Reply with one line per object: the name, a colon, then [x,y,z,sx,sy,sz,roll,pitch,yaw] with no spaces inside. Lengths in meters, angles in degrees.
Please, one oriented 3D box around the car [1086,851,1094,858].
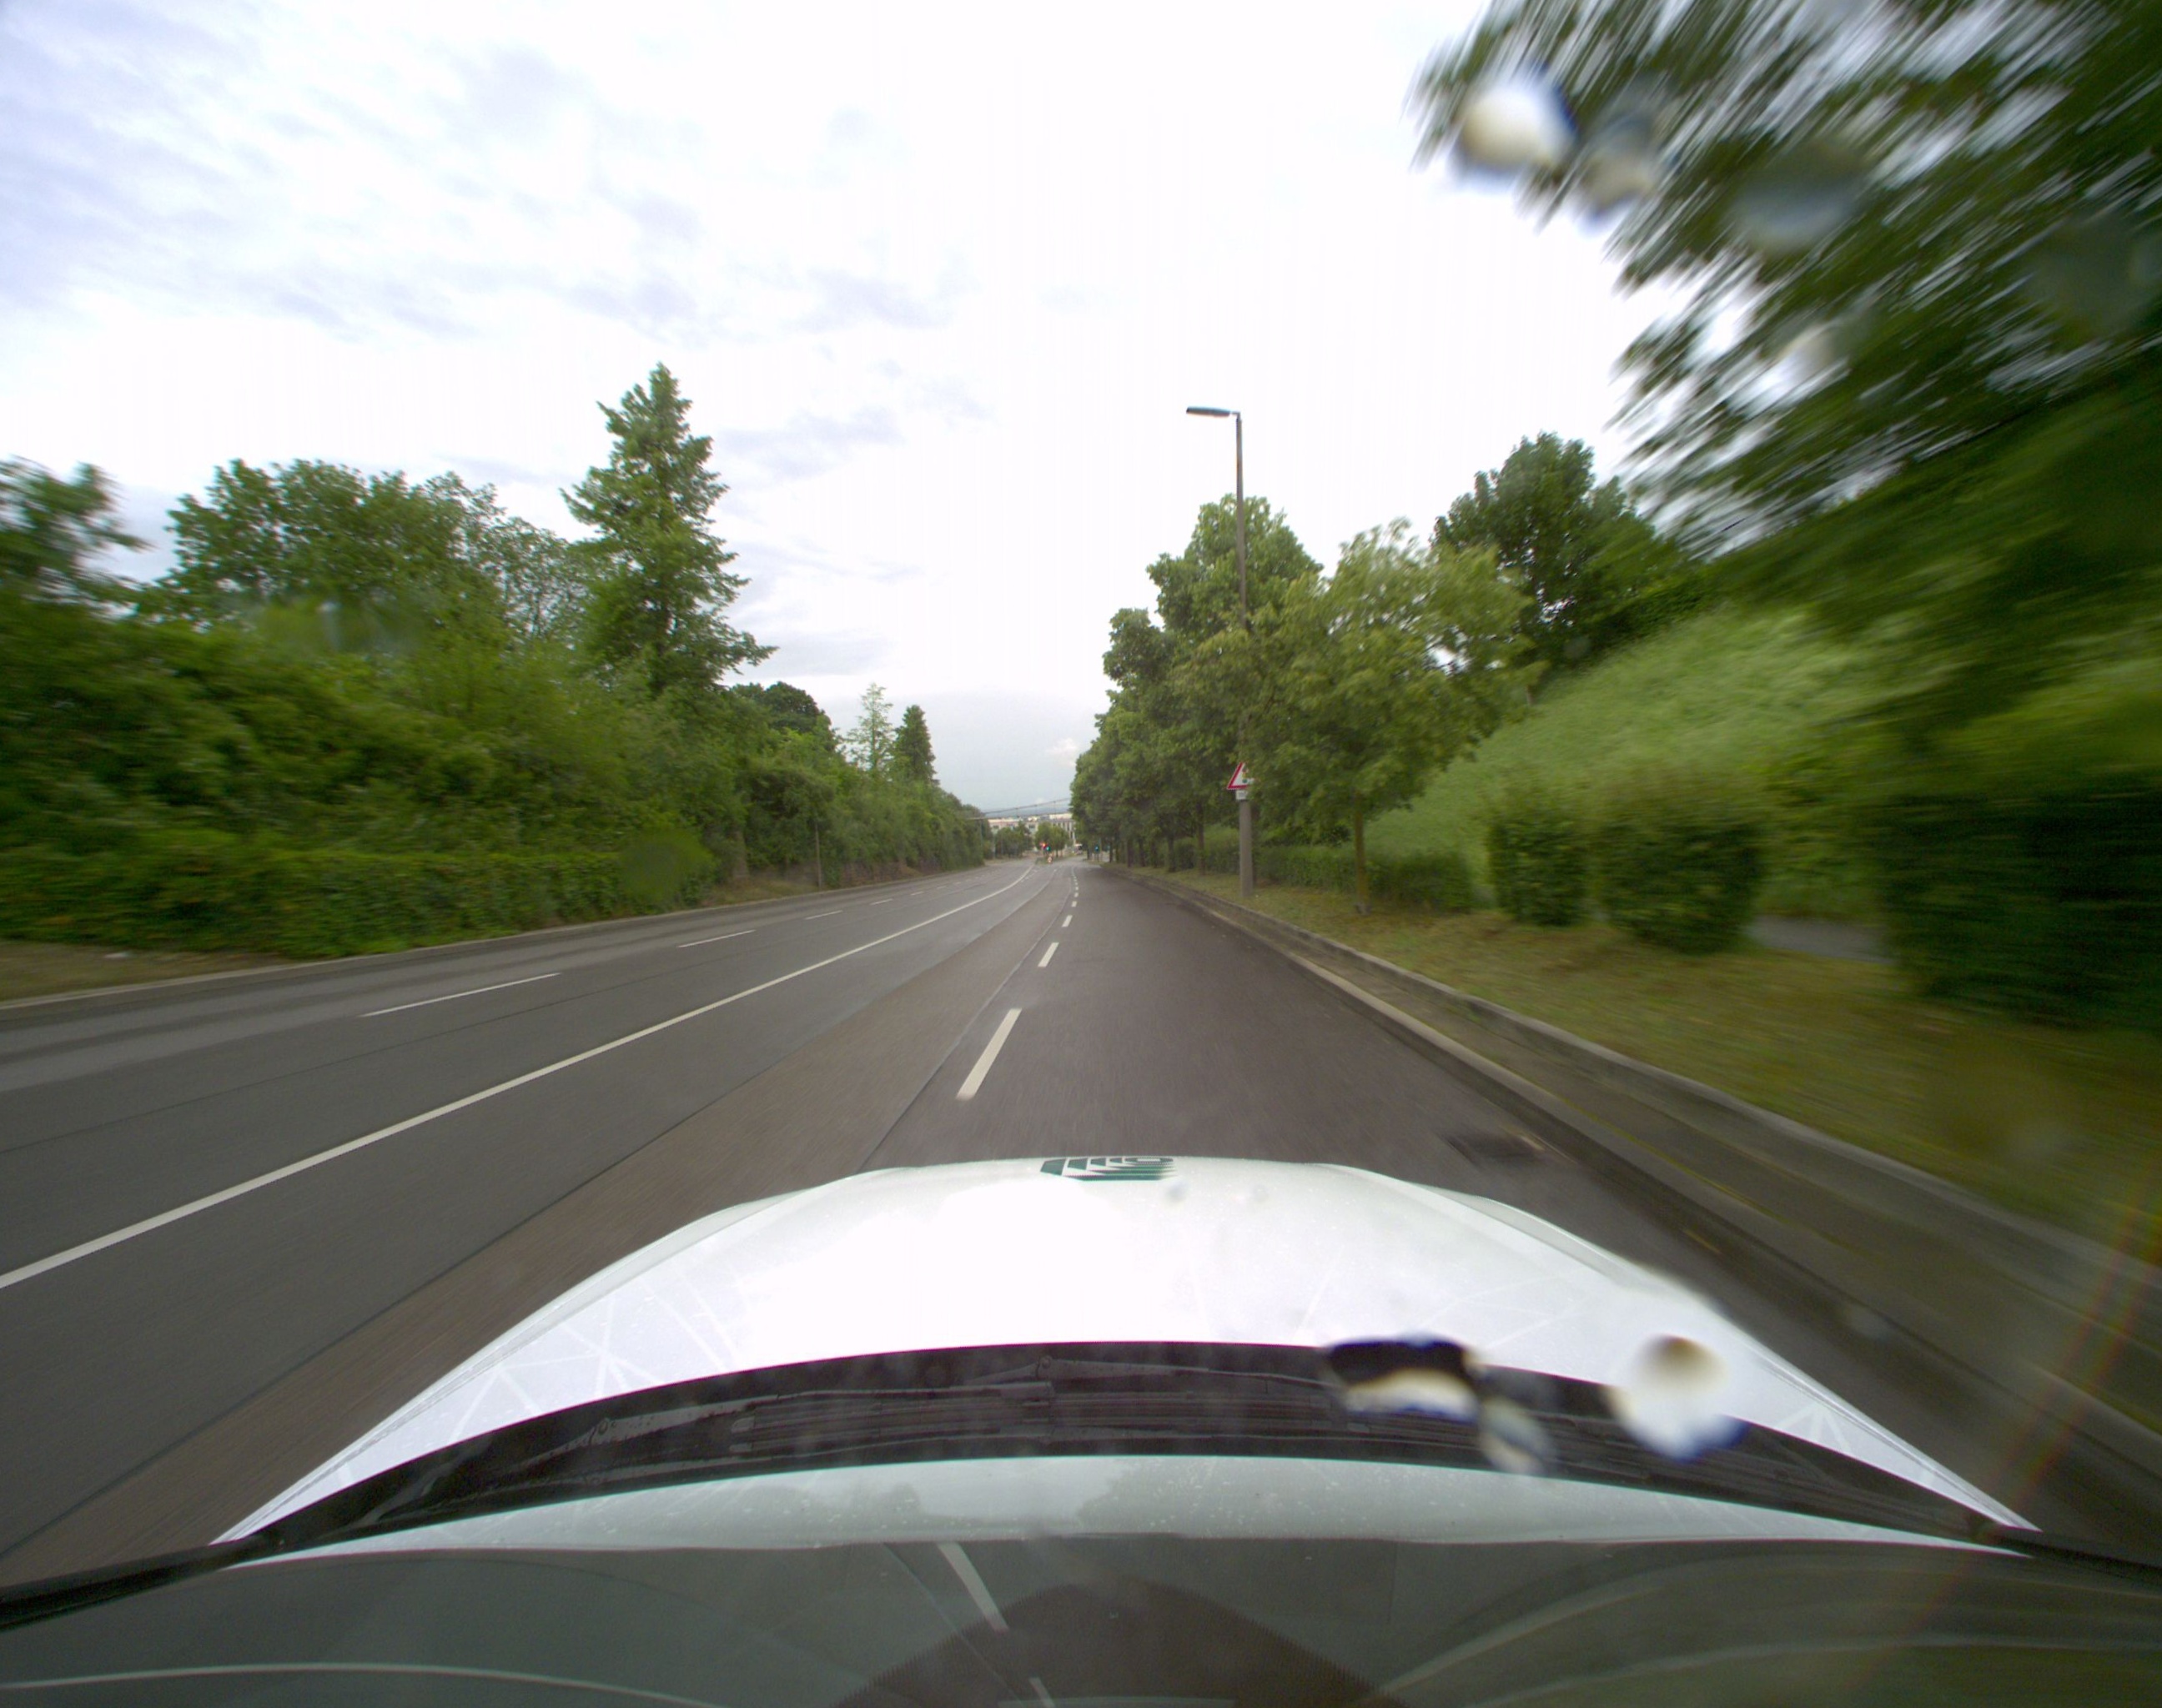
car: [2.570,0.154,231.653,1.840,1.702,3.798,0,-1,5]
